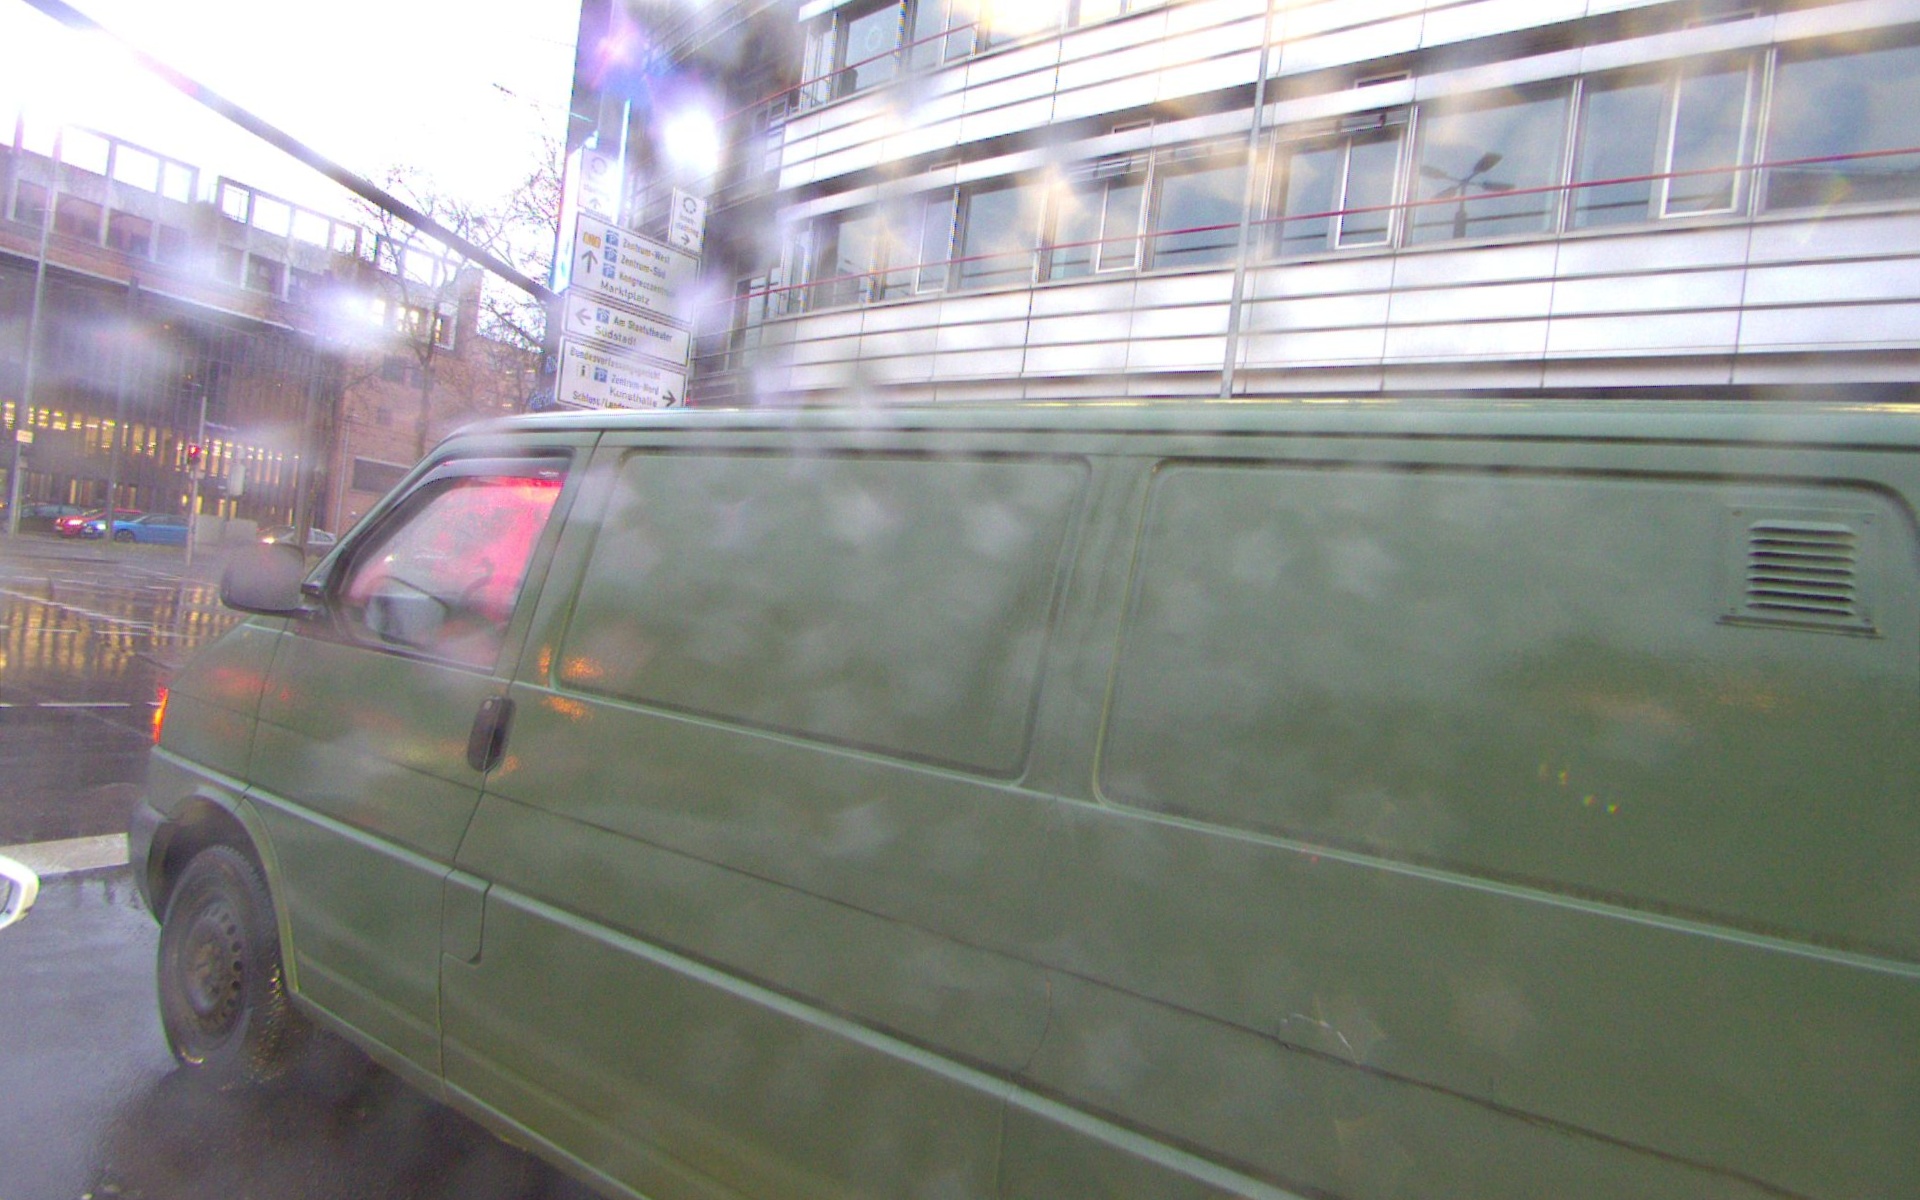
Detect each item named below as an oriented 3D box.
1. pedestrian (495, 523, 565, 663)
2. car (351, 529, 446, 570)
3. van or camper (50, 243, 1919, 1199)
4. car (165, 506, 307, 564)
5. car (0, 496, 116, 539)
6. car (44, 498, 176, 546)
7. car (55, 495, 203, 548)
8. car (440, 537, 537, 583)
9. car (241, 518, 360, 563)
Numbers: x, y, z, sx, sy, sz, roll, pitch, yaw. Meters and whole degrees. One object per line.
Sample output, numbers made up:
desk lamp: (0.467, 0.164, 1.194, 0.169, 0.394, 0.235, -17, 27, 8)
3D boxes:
pedestrian: (-7.042, -0.102, 16.477, 0.609, 2.210, 0.576, 6, 0, 26)
car: (-30.160, -2.690, 54.126, 1.814, 1.523, 3.997, 11, 1, 26)
van or camper: (-0.320, 0.535, 2.623, 4.345, 1.929, 1.760, 7, -1, 32)
car: (-28.294, -2.504, 39.436, 1.814, 1.523, 3.997, 11, 1, 26)
car: (-39.201, -3.558, 43.203, 1.965, 1.326, 3.994, 7, 0, 28)
car: (-35.474, -3.244, 42.095, 1.814, 1.278, 3.729, 11, 1, 26)
car: (-32.431, -3.028, 39.378, 1.814, 1.278, 3.997, 11, 1, 26)
car: (-23.555, -1.973, 50.402, 1.814, 1.621, 3.997, 11, 1, 26)
car: (-29.627, -2.652, 45.299, 1.814, 1.304, 3.997, 11, 1, 26)
